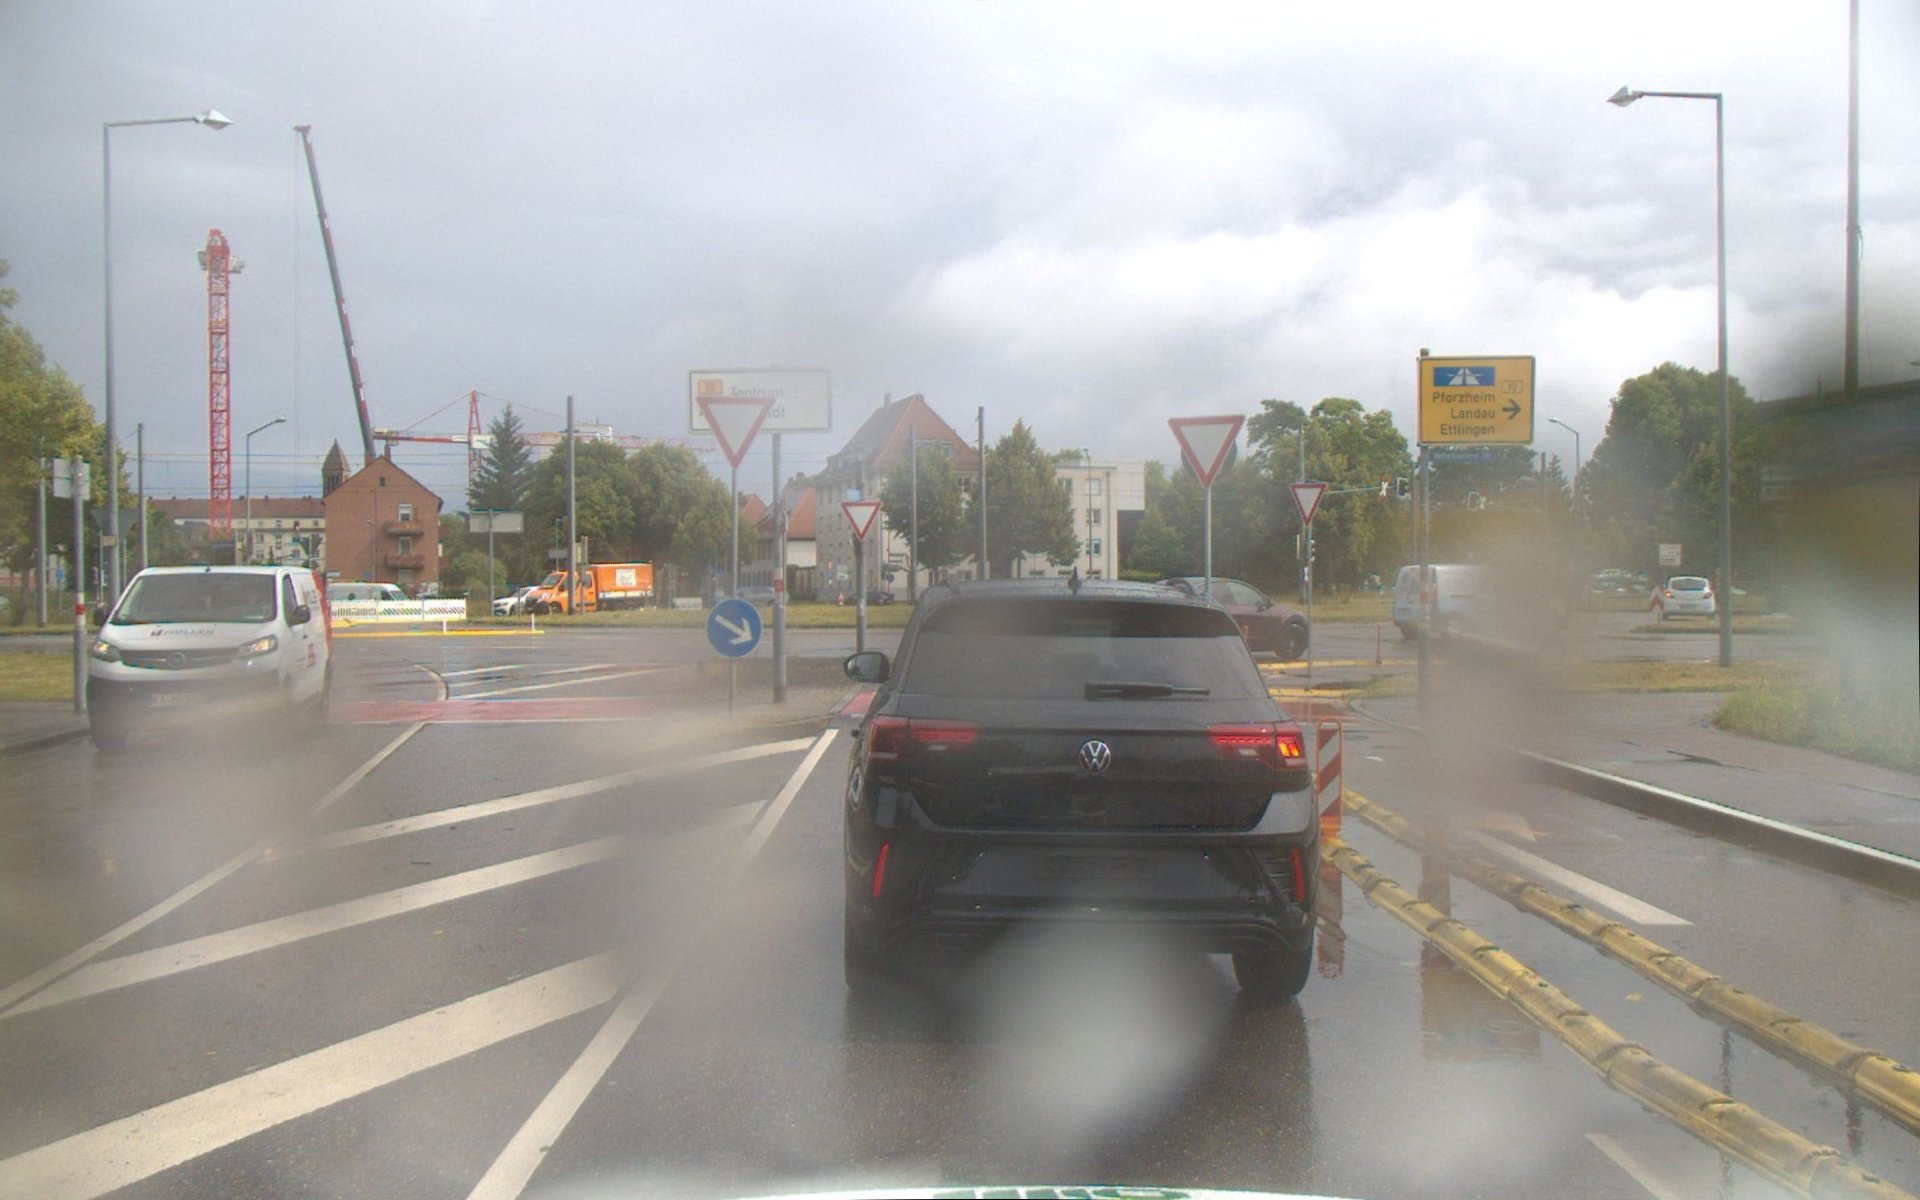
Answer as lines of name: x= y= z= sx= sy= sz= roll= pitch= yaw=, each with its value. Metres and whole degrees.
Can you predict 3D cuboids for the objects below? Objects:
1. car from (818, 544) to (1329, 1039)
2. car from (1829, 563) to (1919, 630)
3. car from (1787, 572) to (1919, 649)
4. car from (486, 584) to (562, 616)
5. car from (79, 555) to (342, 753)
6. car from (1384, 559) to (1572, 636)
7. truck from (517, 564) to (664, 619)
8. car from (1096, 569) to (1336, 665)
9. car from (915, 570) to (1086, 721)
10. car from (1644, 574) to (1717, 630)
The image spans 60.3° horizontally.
car: x=0.279 y=0.620 z=7.249 sx=1.674 sy=1.601 sz=3.680 roll=0 pitch=0 yaw=-3
car: x=23.299 y=-0.093 z=39.521 sx=4.299 sy=1.575 sz=1.870 roll=0 pitch=0 yaw=21
car: x=20.558 y=0.217 z=36.566 sx=3.859 sy=1.673 sz=1.671 roll=0 pitch=0 yaw=19
car: x=-22.417 y=-0.006 z=85.028 sx=3.474 sy=1.612 sz=1.544 roll=-1 pitch=1 yaw=-40
car: x=-8.318 y=0.509 z=18.842 sx=1.857 sy=1.909 sz=5.112 roll=-1 pitch=0 yaw=-15
car: x=12.904 y=-0.080 z=41.210 sx=4.329 sy=1.841 sz=1.857 roll=0 pitch=0 yaw=-23
truck: x=-18.482 y=-0.450 z=83.082 sx=7.029 sy=2.696 sz=2.294 roll=-1 pitch=1 yaw=-42
car: x=5.022 y=0.299 z=32.508 sx=4.282 sy=1.755 sz=1.986 roll=-1 pitch=0 yaw=-23
car: x=0.368 y=0.448 z=18.717 sx=1.700 sy=1.540 sz=3.602 roll=0 pitch=1 yaw=-2
car: x=25.052 y=0.066 z=57.631 sx=1.952 sy=1.862 sz=4.002 roll=-1 pitch=0 yaw=18
